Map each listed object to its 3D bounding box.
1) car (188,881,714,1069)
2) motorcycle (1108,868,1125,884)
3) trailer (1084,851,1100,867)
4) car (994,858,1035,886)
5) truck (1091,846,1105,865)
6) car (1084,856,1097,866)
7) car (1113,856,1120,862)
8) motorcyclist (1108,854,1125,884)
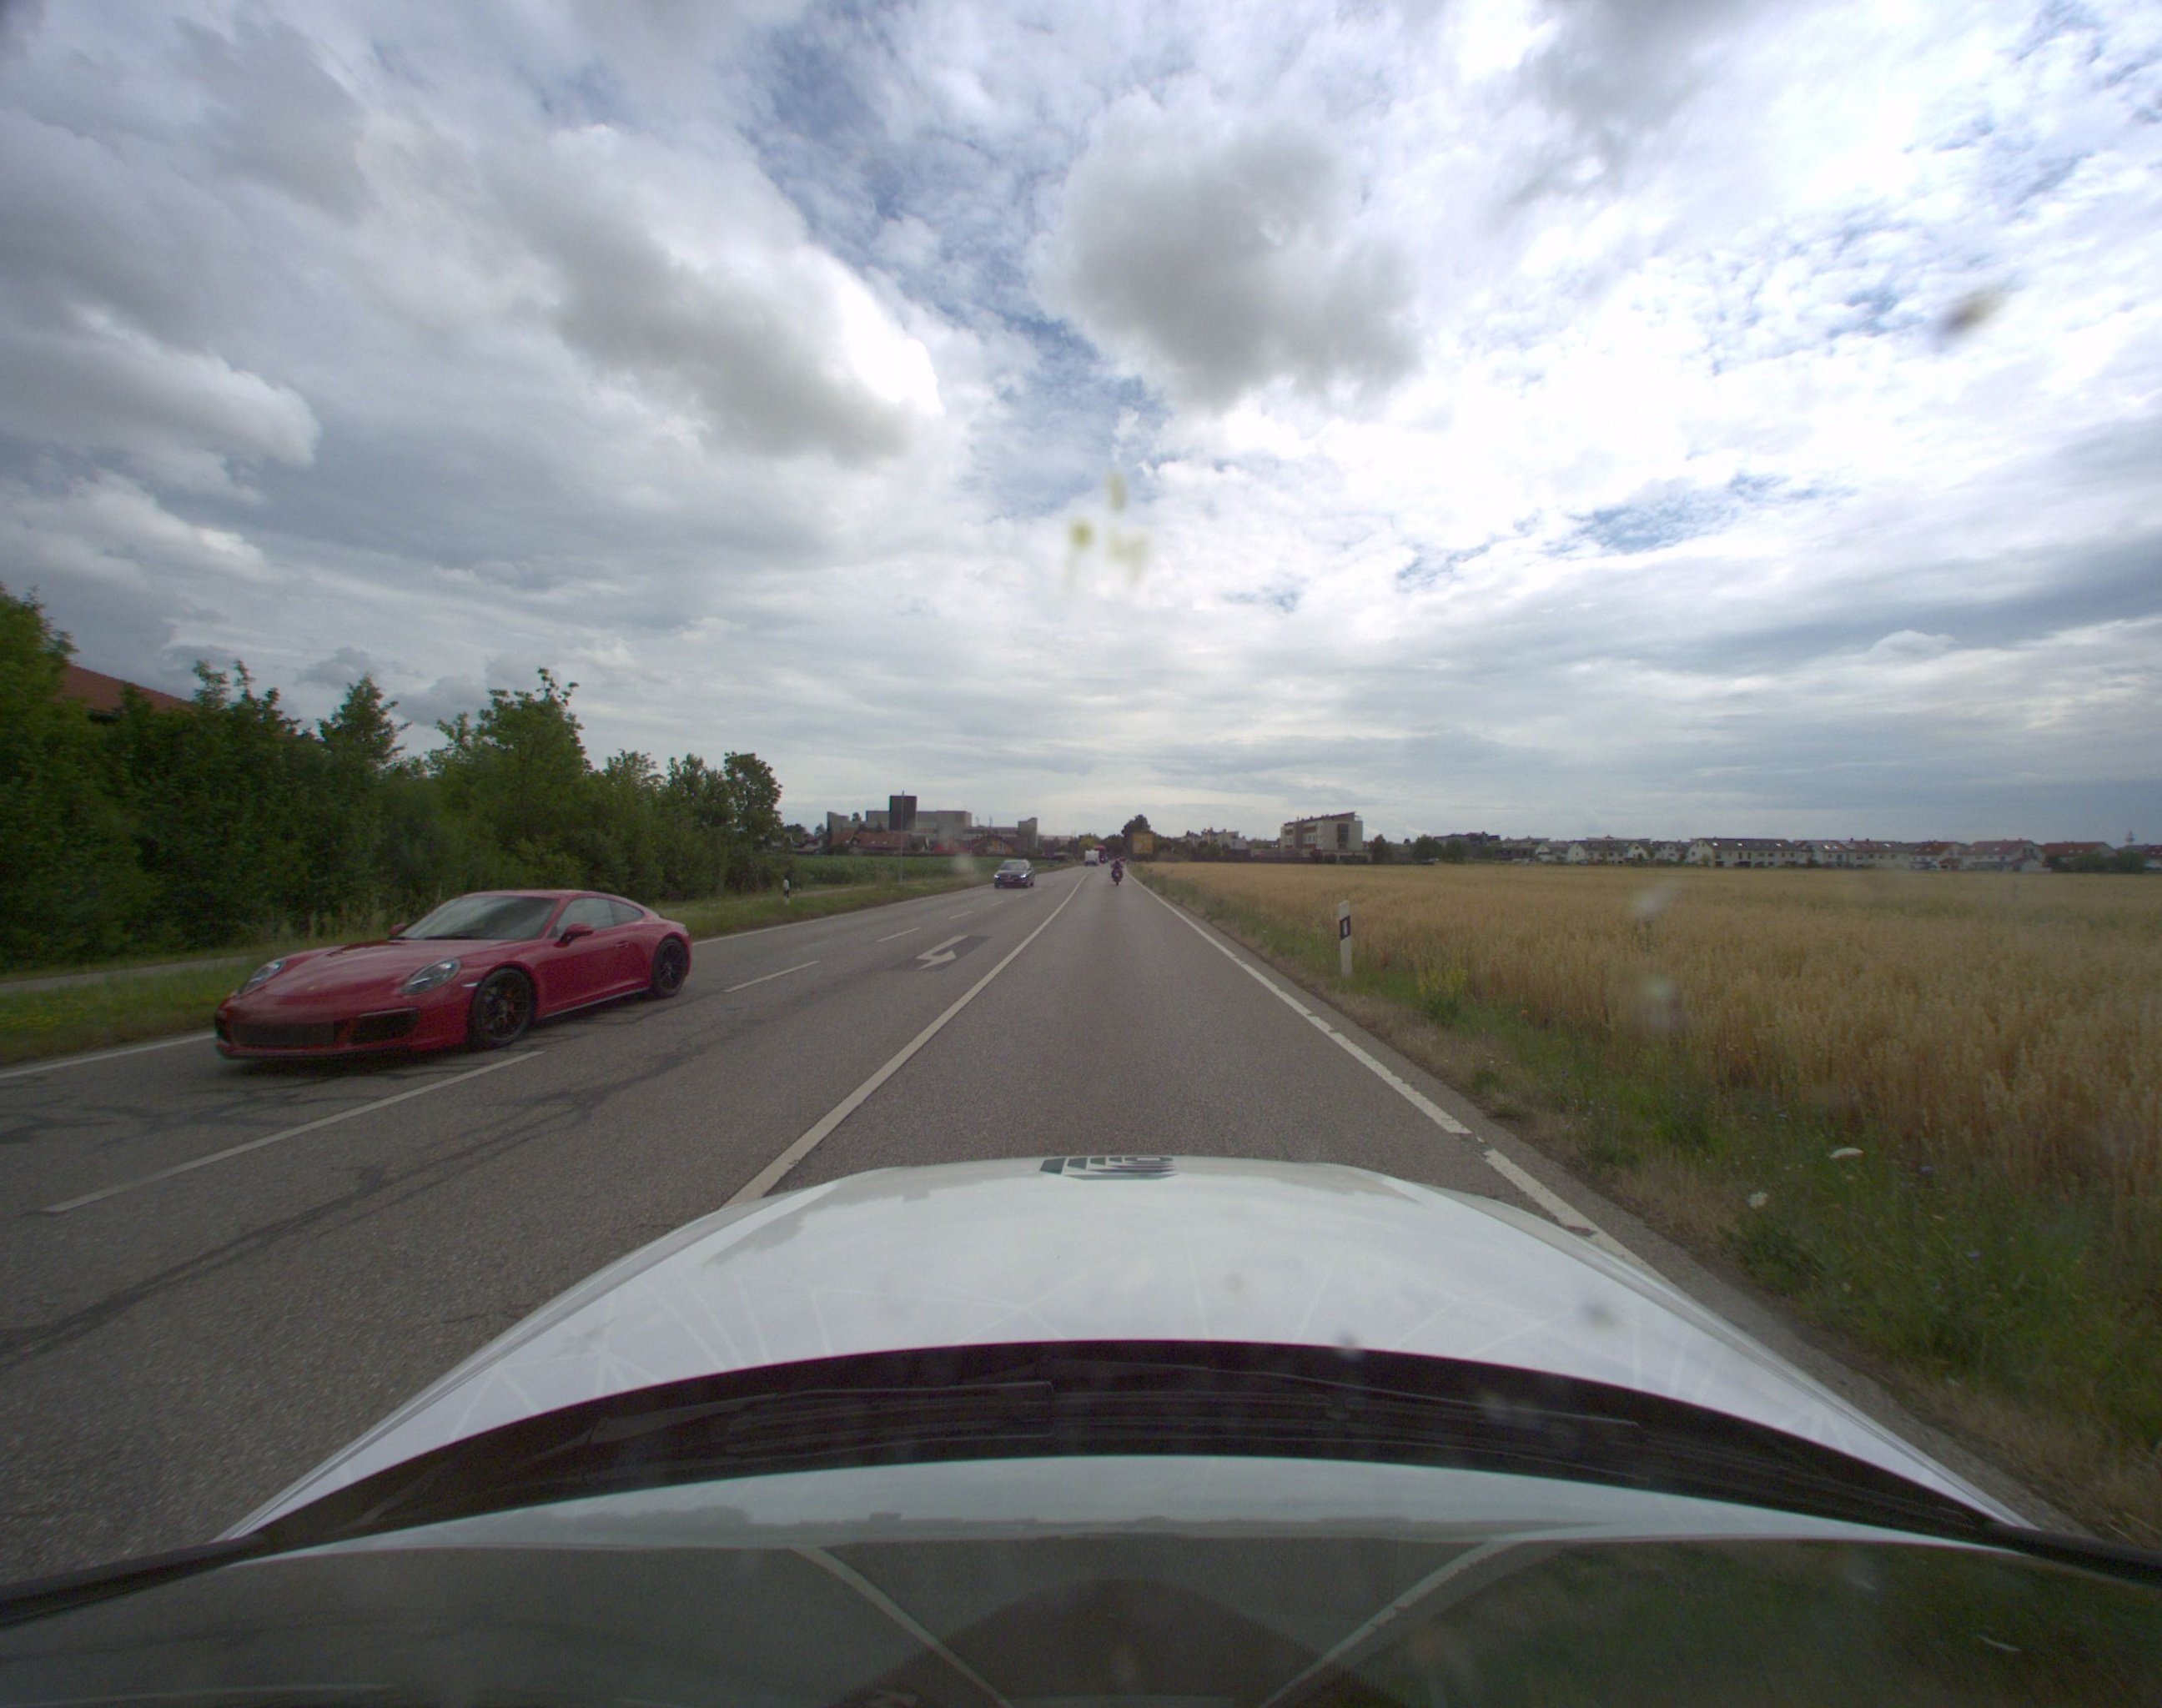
[{"bbox_3d":[-5.580,0.950,8.075,1.764,1.241,4.215,0,0,3],"label":"car"},{"bbox_3d":[2.083,1.289,47.872,0.937,0.890,2.147,1,-1,3],"label":"motorcycle"},{"bbox_3d":[1.893,0.812,140.952,2.314,2.729,7.849,1,0,3],"label":"trailer"},{"bbox_3d":[-3.548,0.937,44.000,1.662,1.429,4.305,-1,0,2],"label":"car"},{"bbox_3d":[3.842,0.345,182.366,2.718,3.987,6.821,0,-1,3],"label":"truck"},{"bbox_3d":[1.609,1.120,135.408,1.985,1.699,4.678,1,0,3],"label":"car"},{"bbox_3d":[9.513,1.309,219.336,1.847,1.472,4.003,1,-1,3],"label":"car"},{"bbox_3d":[2.086,0.858,47.899,0.937,1.750,1.201,1,-1,2],"label":"motorcyclist"}]
